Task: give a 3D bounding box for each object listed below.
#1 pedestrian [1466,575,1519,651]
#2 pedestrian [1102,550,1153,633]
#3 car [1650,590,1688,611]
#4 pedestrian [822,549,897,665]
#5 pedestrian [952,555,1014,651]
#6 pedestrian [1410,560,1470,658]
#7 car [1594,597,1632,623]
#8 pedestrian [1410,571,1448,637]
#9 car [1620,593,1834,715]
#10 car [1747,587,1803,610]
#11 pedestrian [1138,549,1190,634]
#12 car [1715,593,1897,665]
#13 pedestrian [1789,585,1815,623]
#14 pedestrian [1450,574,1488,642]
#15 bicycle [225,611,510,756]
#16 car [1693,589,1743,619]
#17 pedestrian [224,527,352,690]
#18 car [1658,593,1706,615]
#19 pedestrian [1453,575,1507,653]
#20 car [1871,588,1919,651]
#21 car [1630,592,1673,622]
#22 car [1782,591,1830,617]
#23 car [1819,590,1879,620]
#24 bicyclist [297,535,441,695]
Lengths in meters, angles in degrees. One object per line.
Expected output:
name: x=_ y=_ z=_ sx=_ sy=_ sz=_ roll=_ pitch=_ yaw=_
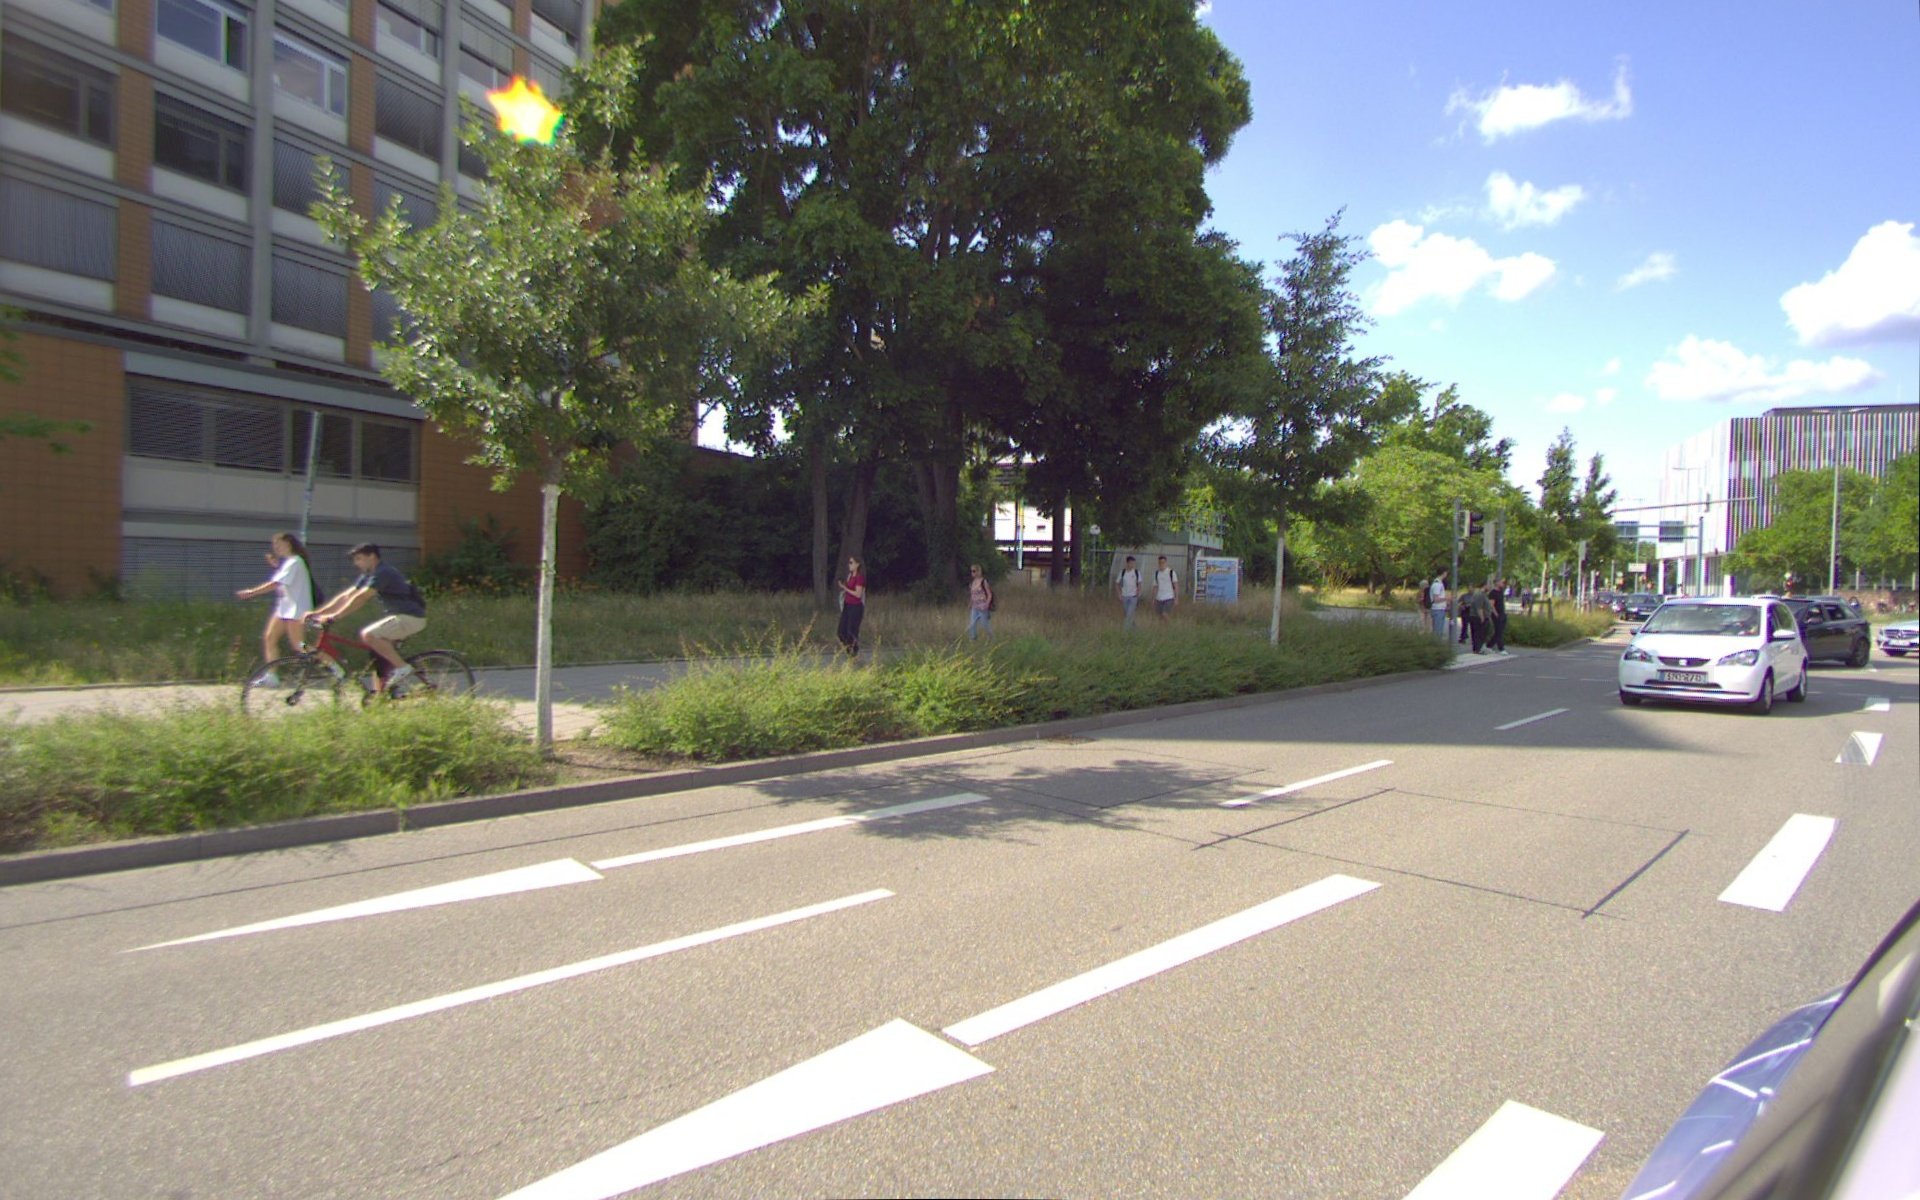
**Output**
pedestrian: x=12.631 y=0.297 z=24.000 sx=0.755 sy=1.757 sz=0.926 roll=0 pitch=0 yaw=-43
pedestrian: x=3.630 y=-0.193 z=21.923 sx=0.614 sy=1.720 sz=0.876 roll=5 pitch=4 yaw=44
car: x=44.720 y=-0.016 z=63.839 sx=1.898 sy=1.148 sz=4.052 roll=1 pitch=3 yaw=35
pedestrian: x=-1.502 y=0.087 z=15.126 sx=0.874 sy=1.642 sz=0.615 roll=0 pitch=4 yaw=-41
pedestrian: x=0.415 y=0.031 z=18.072 sx=0.614 sy=1.642 sz=0.876 roll=5 pitch=4 yaw=44
pedestrian: x=10.277 y=0.191 z=21.671 sx=0.755 sy=2.039 sz=0.963 roll=0 pitch=0 yaw=-43
car: x=39.205 y=0.567 z=60.727 sx=1.815 sy=1.481 sz=3.950 roll=1 pitch=1 yaw=35
pedestrian: x=12.727 y=0.104 z=27.441 sx=0.765 sy=1.757 sz=0.708 roll=0 pitch=0 yaw=41
car: x=10.865 y=0.641 z=14.236 sx=3.931 sy=1.439 sz=1.652 roll=-1 pitch=2 yaw=-41
car: x=50.568 y=-0.109 z=62.860 sx=1.761 sy=1.371 sz=3.966 roll=0 pitch=1 yaw=25
pedestrian: x=4.317 y=-0.195 z=21.397 sx=0.614 sy=1.720 sz=0.876 roll=5 pitch=4 yaw=44
car: x=18.041 y=0.559 z=21.557 sx=4.050 sy=1.389 sz=1.706 roll=0 pitch=1 yaw=-30
pedestrian: x=39.419 y=0.179 z=47.382 sx=0.731 sy=1.736 sz=0.868 roll=0 pitch=0 yaw=27
pedestrian: x=13.441 y=0.192 z=26.720 sx=0.765 sy=1.757 sz=0.708 roll=0 pitch=0 yaw=41
bicycle: x=-4.920 y=0.632 z=8.470 sx=1.927 sy=0.981 sz=0.849 roll=0 pitch=4 yaw=-41
car: x=39.903 y=0.163 z=53.352 sx=1.814 sy=1.481 sz=3.952 roll=1 pitch=1 yaw=33
pedestrian: x=-7.187 y=0.069 z=10.828 sx=1.077 sy=1.642 sz=0.615 roll=0 pitch=4 yaw=-41
car: x=41.410 y=0.195 z=58.113 sx=1.582 sy=1.148 sz=3.597 roll=1 pitch=1 yaw=25
pedestrian: x=12.066 y=0.305 z=23.486 sx=0.755 sy=1.757 sz=0.926 roll=0 pitch=0 yaw=-43
car: x=25.375 y=0.472 z=24.681 sx=4.665 sy=1.473 sz=1.938 roll=0 pitch=1 yaw=-3
car: x=36.851 y=0.350 z=53.892 sx=1.815 sy=1.481 sz=3.949 roll=1 pitch=1 yaw=35
car: x=47.052 y=0.201 z=56.354 sx=1.722 sy=1.351 sz=3.742 roll=0 pitch=1 yaw=35
car: x=43.755 y=0.205 z=49.889 sx=1.990 sy=1.393 sz=4.210 roll=1 pitch=1 yaw=39
bicyclist: x=-4.908 y=0.105 z=8.413 sx=0.908 sy=1.235 sz=0.636 roll=1 pitch=3 yaw=-41
